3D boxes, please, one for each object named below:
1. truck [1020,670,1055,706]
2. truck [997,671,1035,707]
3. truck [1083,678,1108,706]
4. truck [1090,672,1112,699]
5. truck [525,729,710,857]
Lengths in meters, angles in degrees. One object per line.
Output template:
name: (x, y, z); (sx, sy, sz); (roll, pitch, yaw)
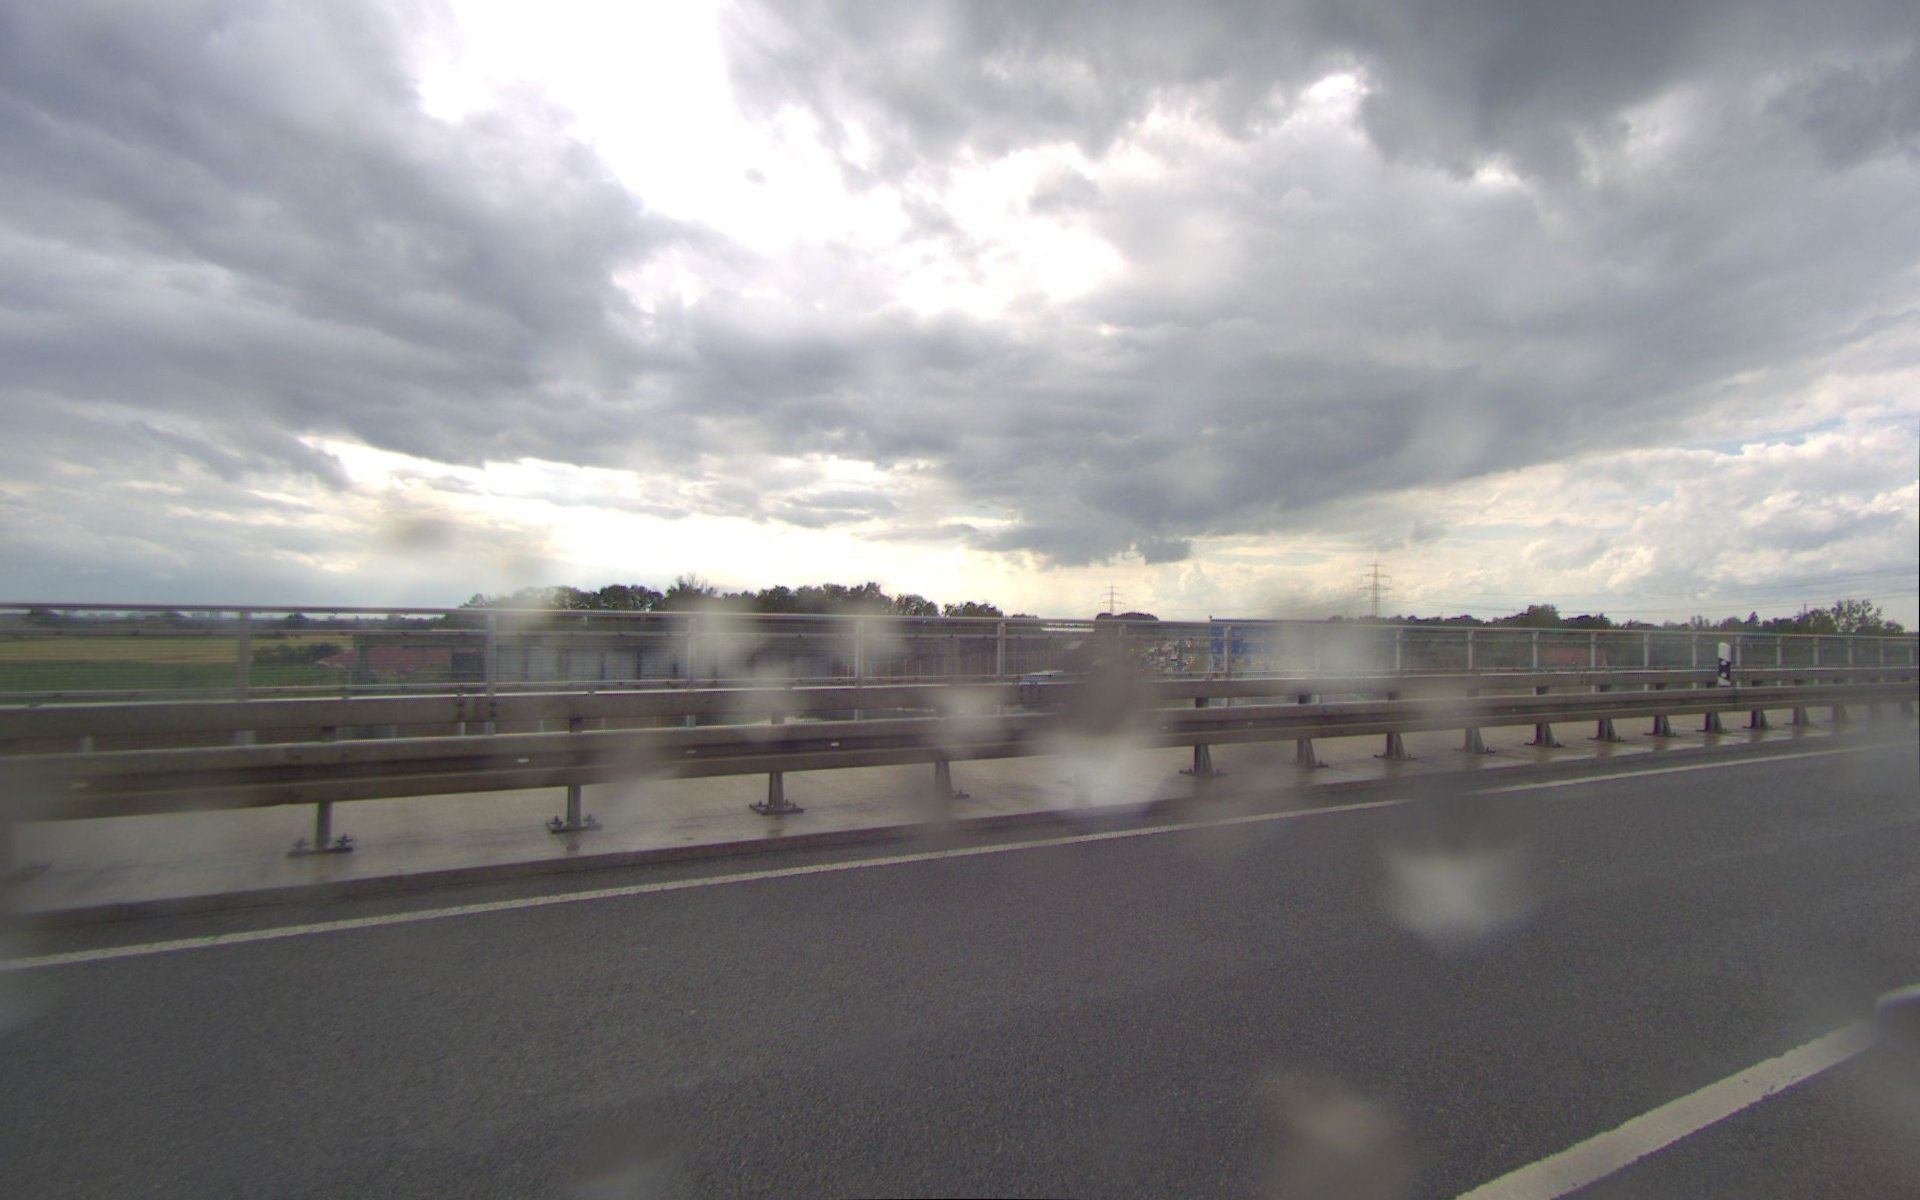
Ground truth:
truck: (10.109, 11.353, 130.581); (2.388, 3.812, 11.175); (1, 0, 15)
truck: (7.540, 11.723, 133.270); (2.388, 3.812, 11.174); (1, 0, 16)
truck: (23.092, 15.520, 171.005); (2.388, 3.812, 11.174); (1, 0, 16)
truck: (26.505, 16.025, 188.824); (2.388, 4.249, 11.174); (1, 0, 16)
truck: (-16.129, 8.994, 48.692); (2.388, 4.055, 11.174); (1, 0, 16)
